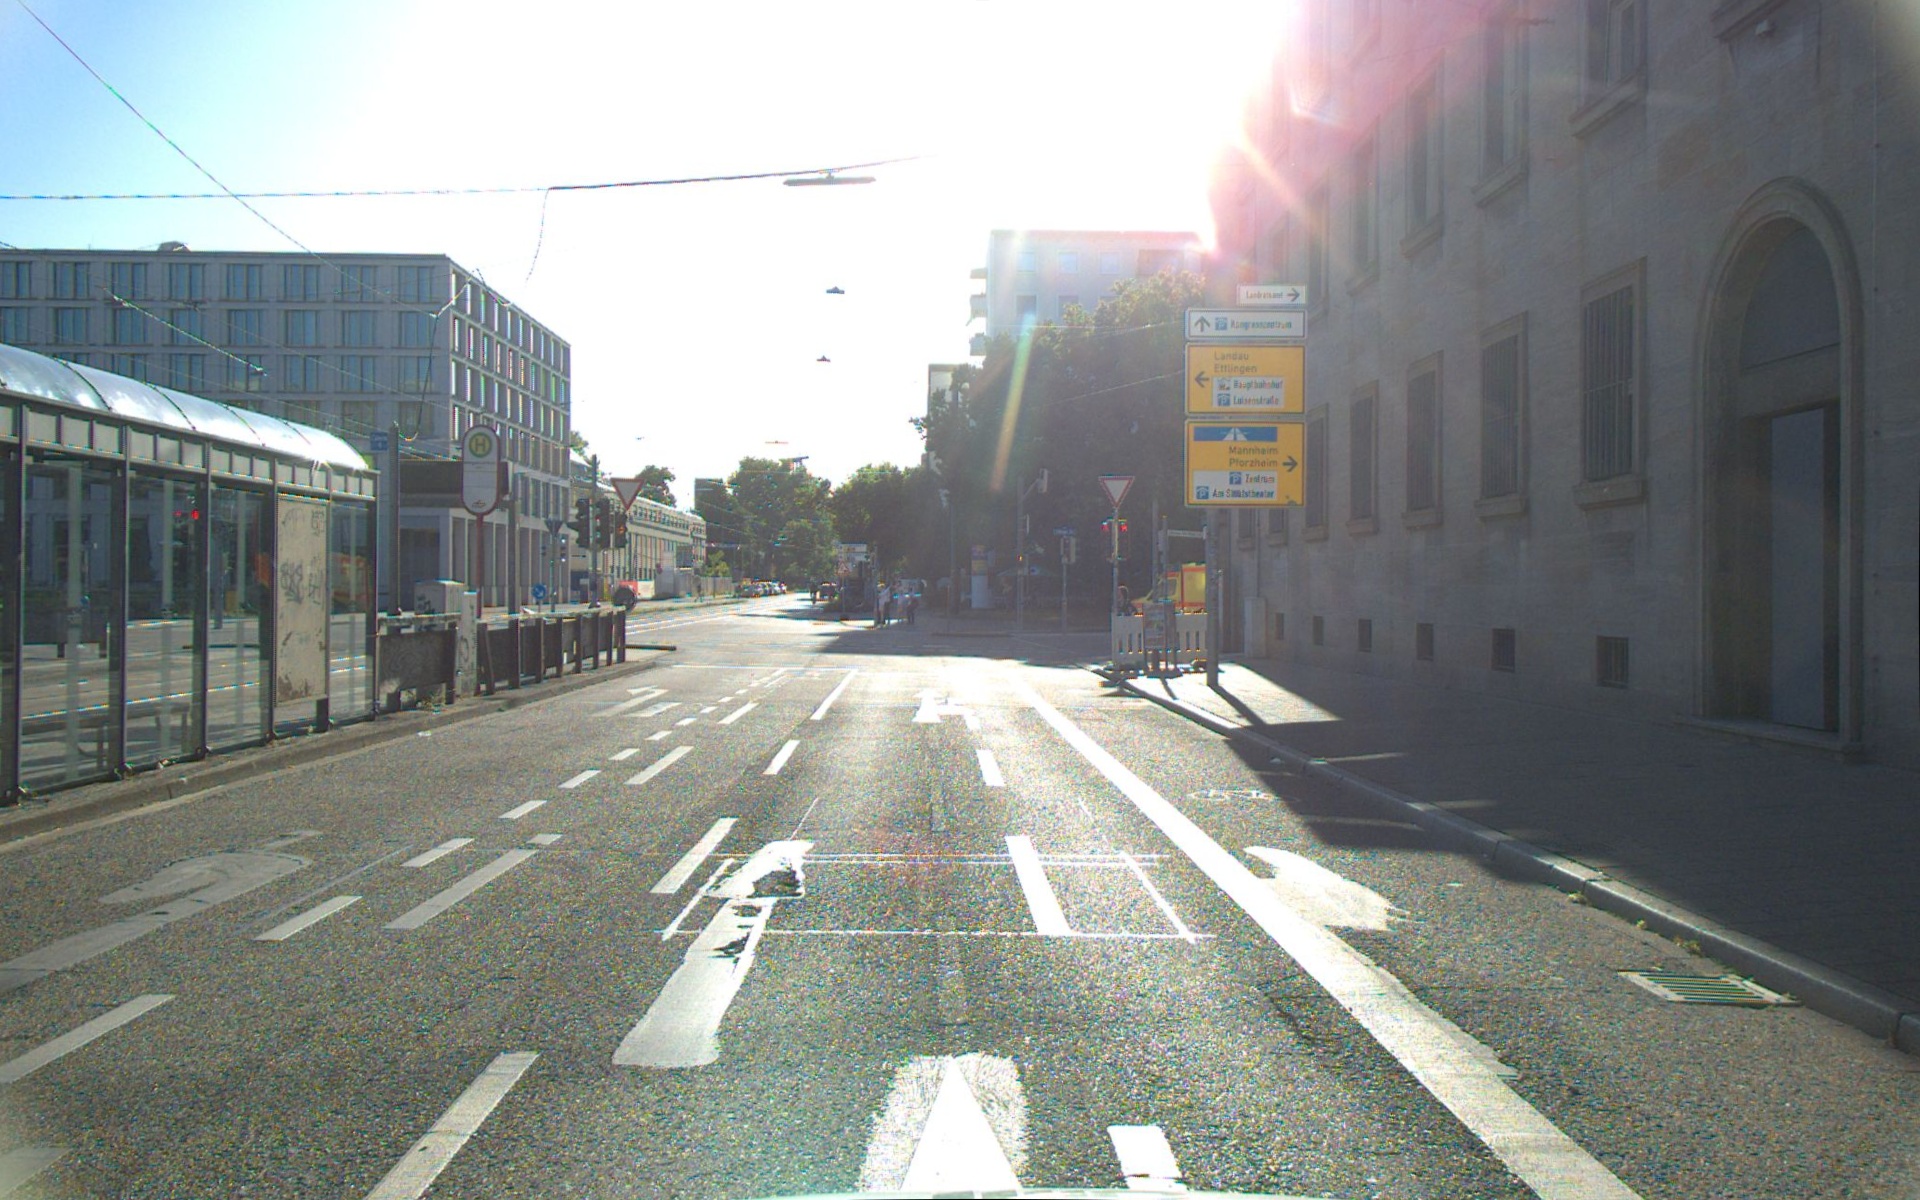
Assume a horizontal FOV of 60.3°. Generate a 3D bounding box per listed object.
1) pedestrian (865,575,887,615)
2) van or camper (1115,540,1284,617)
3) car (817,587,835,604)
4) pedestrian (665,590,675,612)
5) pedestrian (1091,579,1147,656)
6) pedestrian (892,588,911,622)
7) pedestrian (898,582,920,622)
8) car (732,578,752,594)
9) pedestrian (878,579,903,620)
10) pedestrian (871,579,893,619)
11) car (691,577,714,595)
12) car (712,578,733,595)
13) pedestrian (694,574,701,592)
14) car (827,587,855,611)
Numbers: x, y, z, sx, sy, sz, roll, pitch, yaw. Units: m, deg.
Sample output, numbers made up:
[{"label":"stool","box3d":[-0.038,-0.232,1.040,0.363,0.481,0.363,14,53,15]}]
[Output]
[{"label":"pedestrian","box3d":[-3.892,-0.241,76.491,0.834,1.815,0.776,0,0,-18]},{"label":"van or camper","box3d":[9.729,-0.860,67.746,6.568,2.911,2.912,2,-1,3]},{"label":"car","box3d":[-14.049,-0.471,173.632,1.650,1.768,3.508,2,0,-1]},{"label":"pedestrian","box3d":[-17.265,0.064,98.543,0.501,1.352,0.369,0,0,0]},{"label":"pedestrian","box3d":[3.677,0.389,38.383,1.021,1.751,1.032,0,0,-13]},{"label":"pedestrian","box3d":[-2.697,0.231,76.042,0.750,1.586,0.585,0,0,-18]},{"label":"pedestrian","box3d":[-2.319,0.071,75.326,0.834,1.815,0.776,0,0,-18]},{"label":"car","box3d":[-24.299,-1.522,184.664,1.782,1.742,3.804,0,1,-1]},{"label":"pedestrian","box3d":[-3.112,-0.042,74.092,0.951,1.815,0.776,0,0,-18]},{"label":"pedestrian","box3d":[-3.590,-0.051,75.709,0.834,1.815,0.776,0,0,-18]},{"label":"car","box3d":[-25.228,-1.362,161.995,1.782,1.742,3.804,0,1,-1]},{"label":"car","box3d":[-24.822,-1.407,172.944,1.782,1.742,3.804,0,1,-1]},{"label":"pedestrian","box3d":[-23.110,-1.478,145.619,0.513,1.510,0.437,2,-1,-3]},{"label":"car","box3d":[-8.045,-0.040,111.802,1.650,1.527,3.508,2,0,-1]}]
